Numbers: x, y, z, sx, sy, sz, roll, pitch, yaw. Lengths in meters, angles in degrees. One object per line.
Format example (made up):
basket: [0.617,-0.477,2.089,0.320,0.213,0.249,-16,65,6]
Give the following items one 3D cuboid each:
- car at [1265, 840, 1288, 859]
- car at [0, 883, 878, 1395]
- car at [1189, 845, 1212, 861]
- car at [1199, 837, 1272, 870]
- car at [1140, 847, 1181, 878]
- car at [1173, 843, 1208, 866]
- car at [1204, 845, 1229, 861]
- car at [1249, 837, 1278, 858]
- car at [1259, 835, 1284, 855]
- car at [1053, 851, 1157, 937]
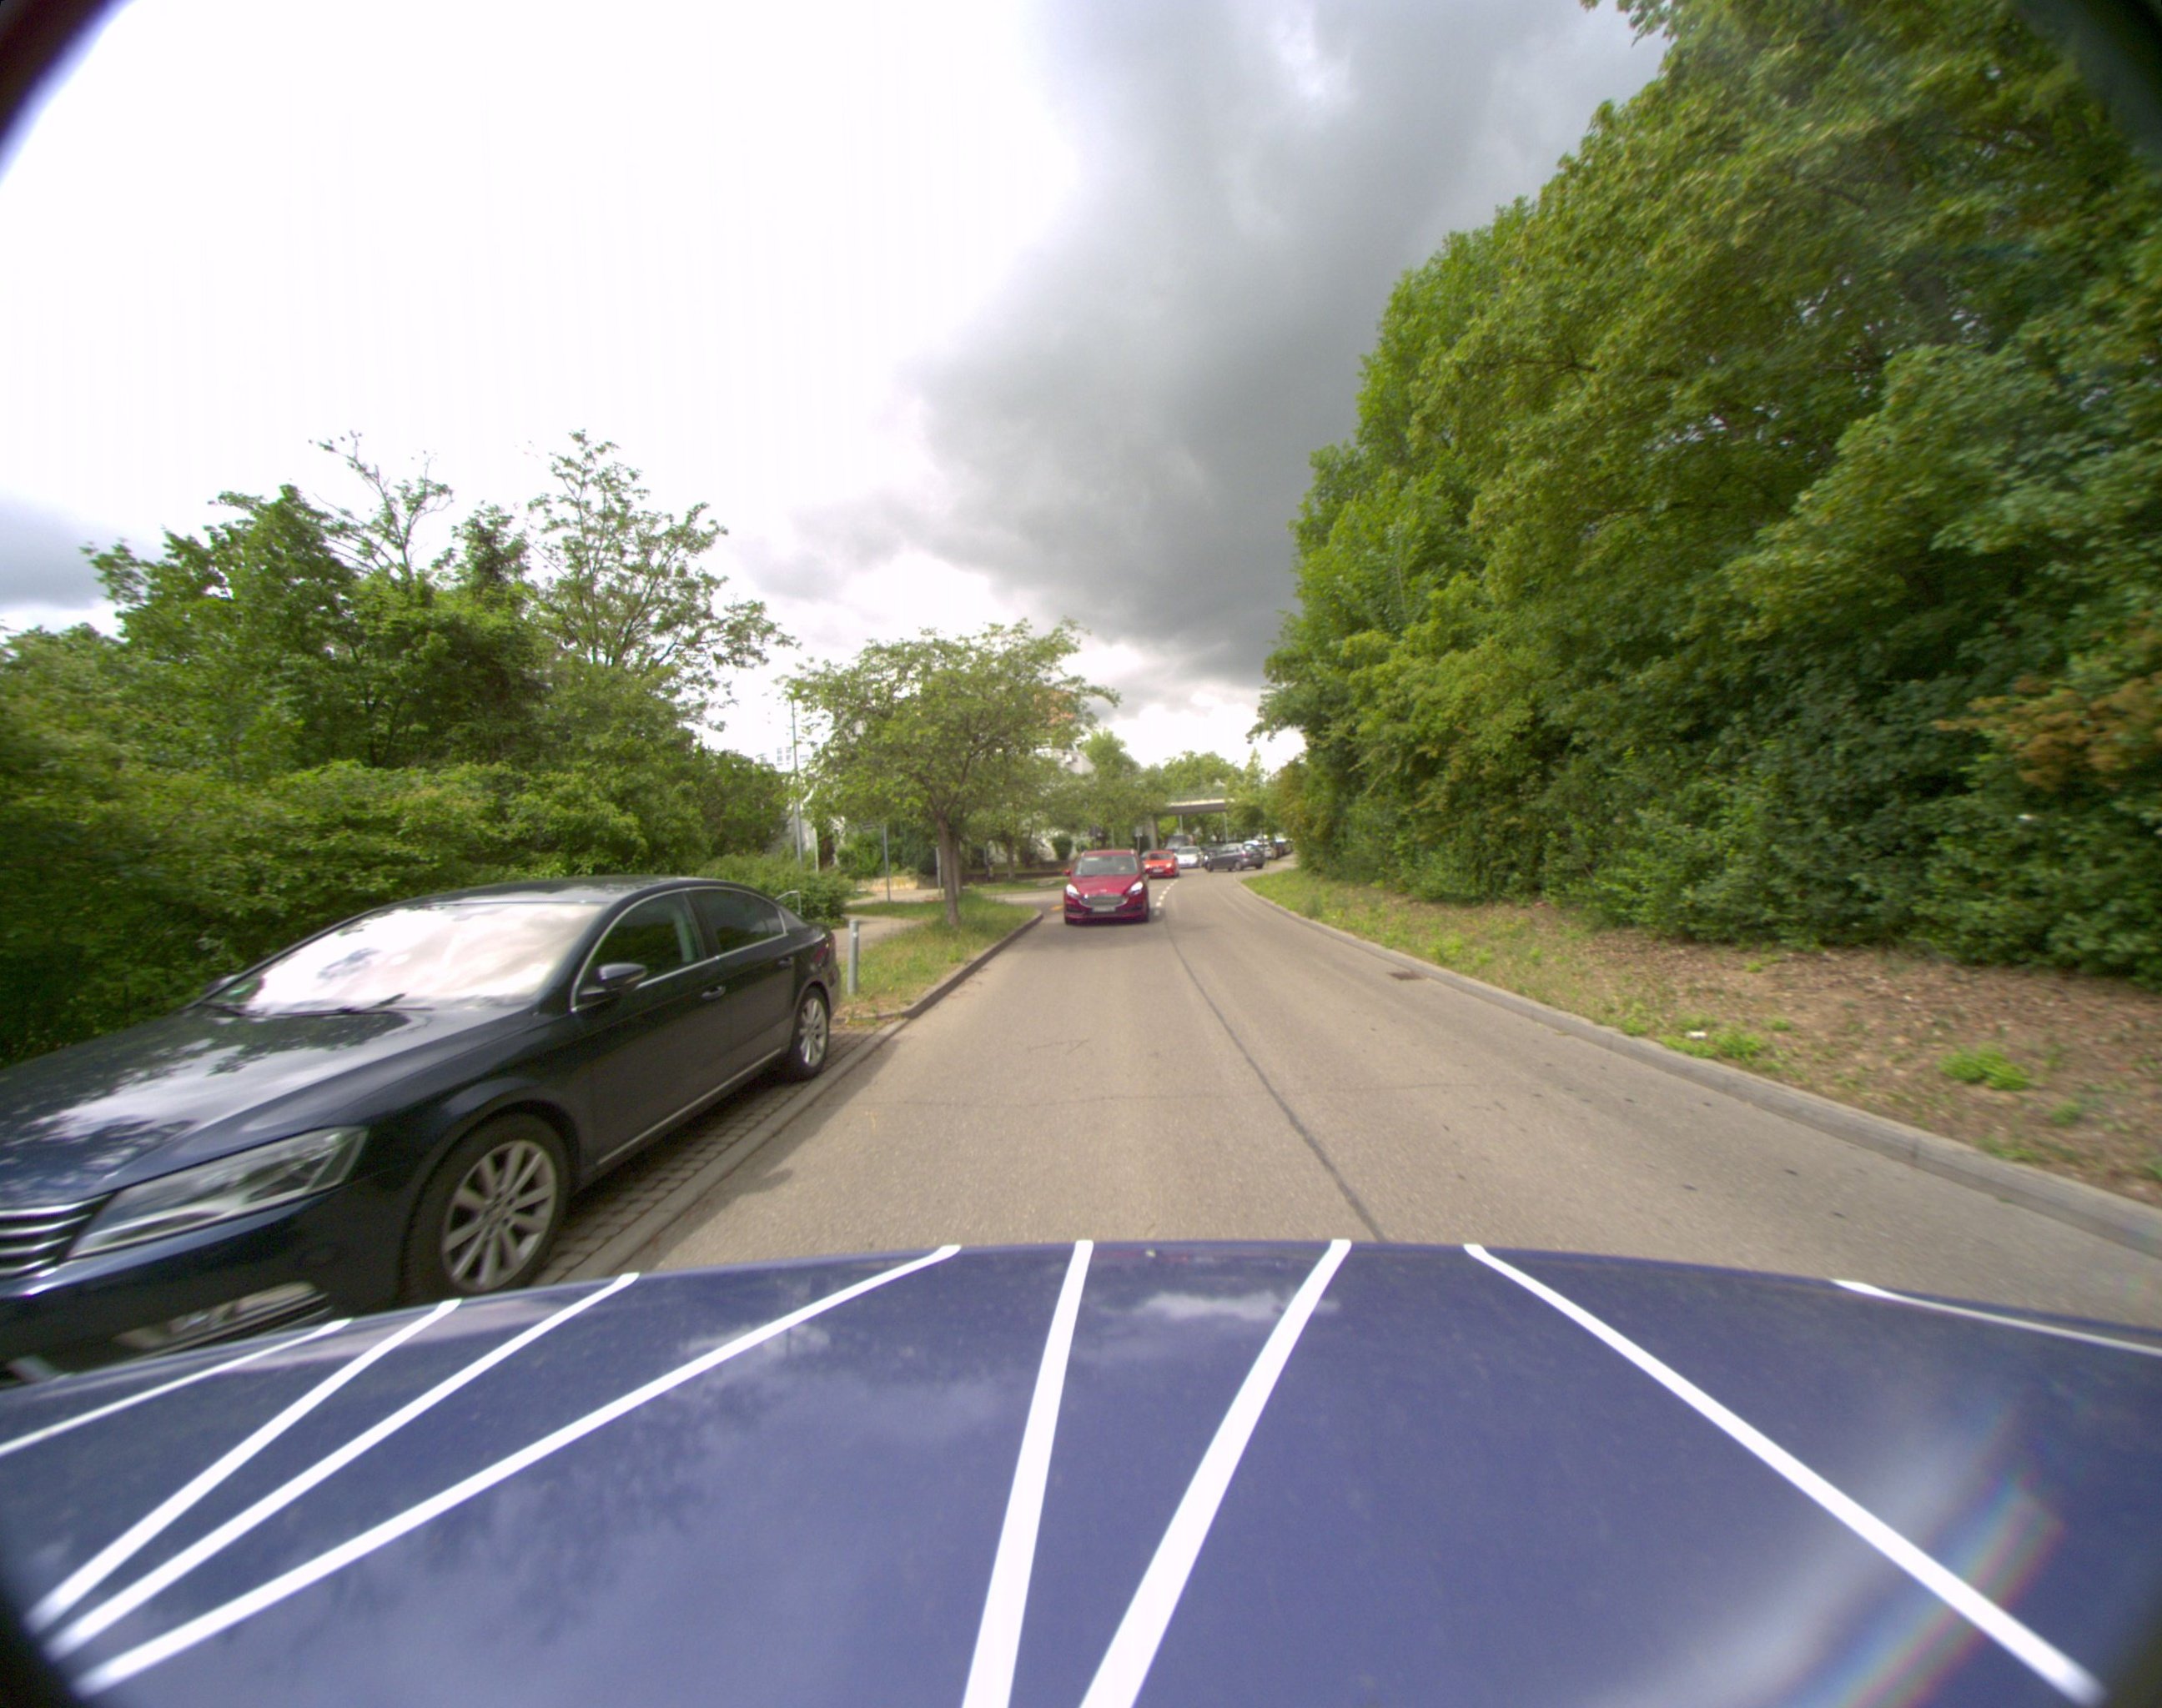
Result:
car: [18.452,-0.450,71.717,1.811,1.472,4.490,-5,0,17]
car: [-2.795,0.986,4.541,1.780,1.426,4.334,-2,0,3]
car: [12.076,-0.139,76.476,1.603,1.479,3.726,-3,1,18]
car: [9.047,-0.006,44.747,1.761,1.651,4.111,-1,-3,-34]
car: [4.242,0.415,40.958,1.861,1.434,4.000,-3,1,2]
car: [8.031,0.001,55.292,1.778,1.443,4.004,-3,1,19]
car: [12.472,-0.088,69.548,1.778,1.411,4.005,-1,-1,17]
car: [13.873,-0.519,57.695,1.810,1.397,4.052,-3,1,18]
car: [16.527,-0.800,65.882,1.811,1.575,3.989,-5,0,17]
car: [0.647,0.801,16.917,1.811,1.600,3.724,-2,1,9]
